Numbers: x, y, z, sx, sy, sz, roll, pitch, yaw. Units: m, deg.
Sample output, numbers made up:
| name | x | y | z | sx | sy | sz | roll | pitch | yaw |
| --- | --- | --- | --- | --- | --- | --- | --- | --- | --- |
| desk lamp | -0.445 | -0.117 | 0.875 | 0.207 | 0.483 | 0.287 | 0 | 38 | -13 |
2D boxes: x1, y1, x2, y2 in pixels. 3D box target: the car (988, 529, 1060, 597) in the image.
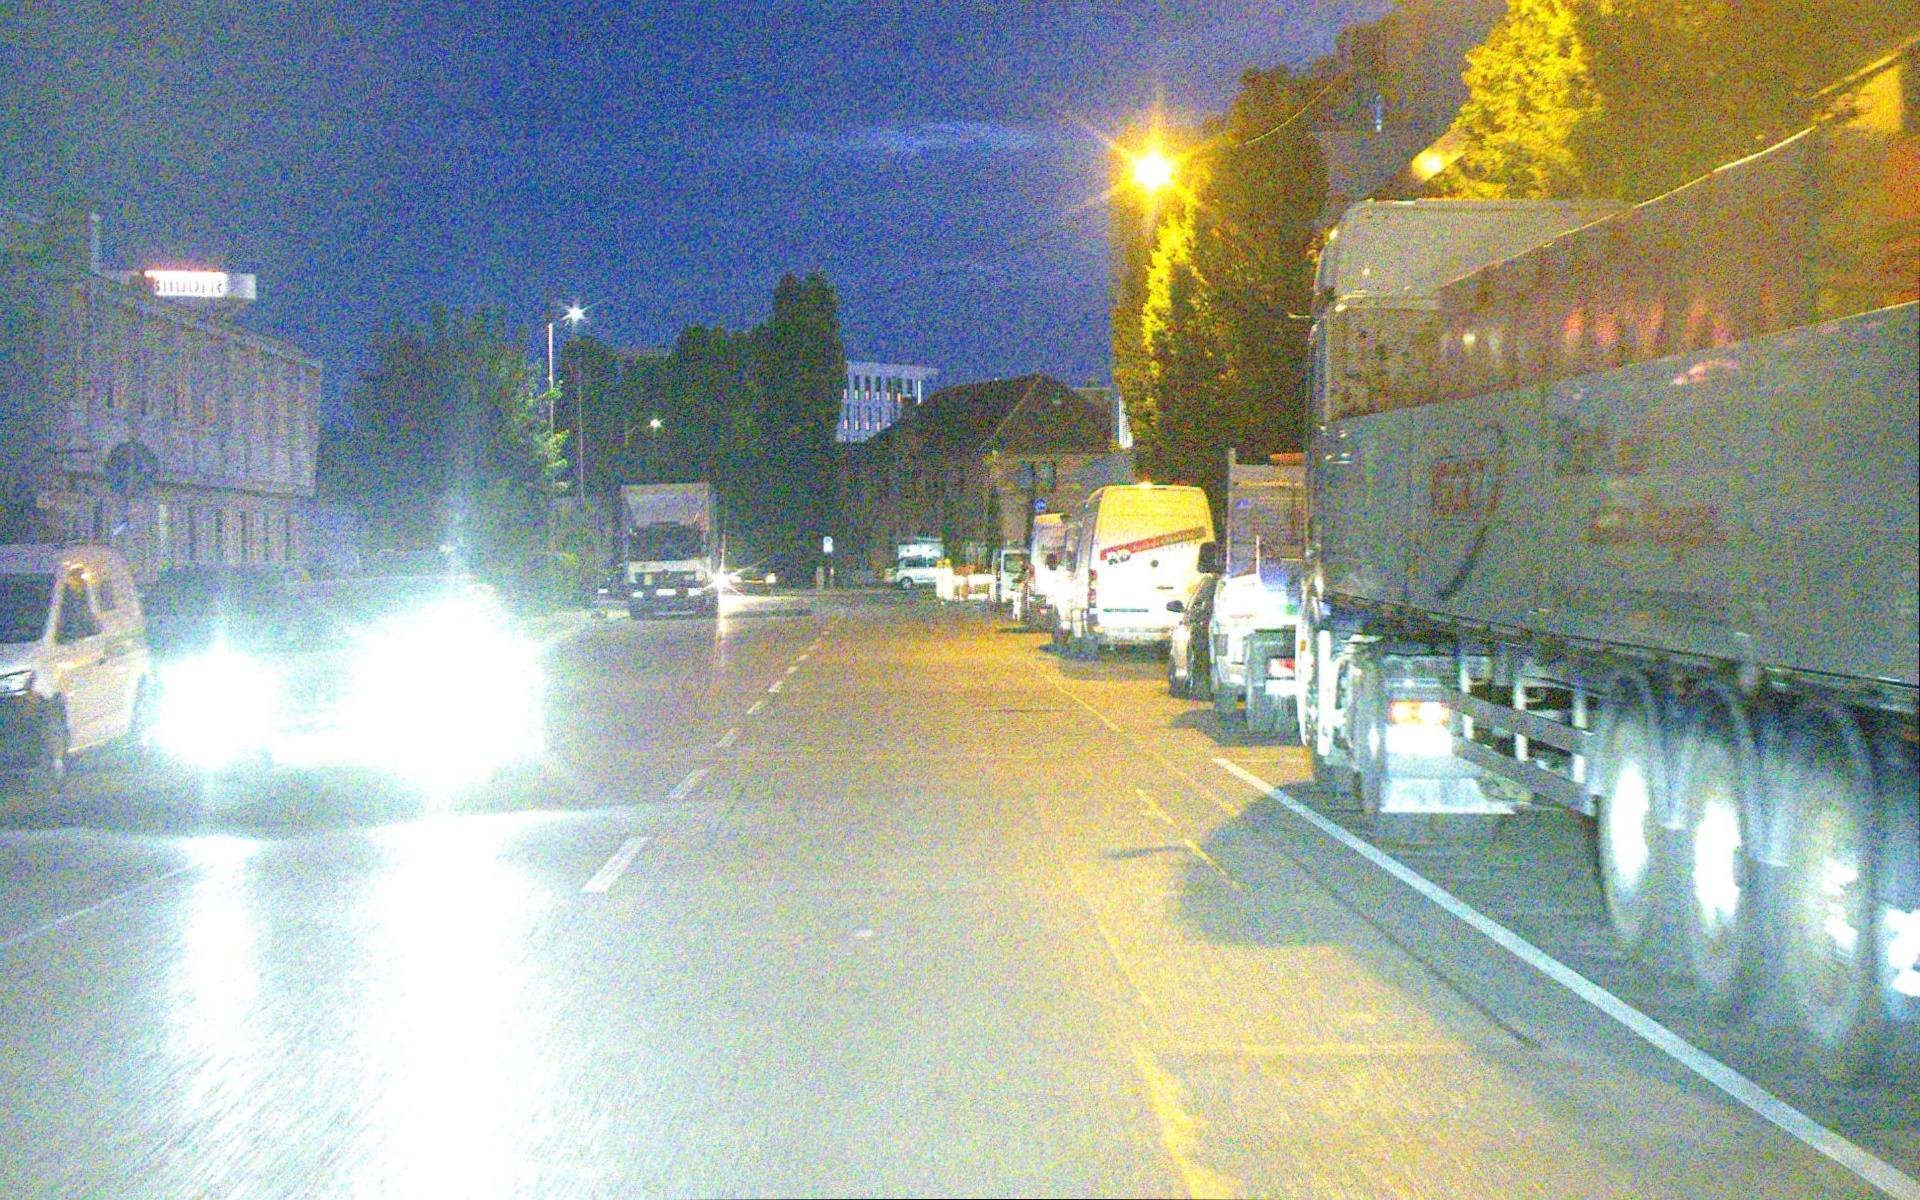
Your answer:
| name | x | y | z | sx | sy | sz | roll | pitch | yaw |
| --- | --- | --- | --- | --- | --- | --- | --- | --- | --- |
| car | 1.940 | -1.163 | 105.843 | 1.993 | 2.007 | 4.912 | -1 | 1 | -1 |

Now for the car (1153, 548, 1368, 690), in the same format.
| name | x | y | z | sx | sy | sz | roll | pitch | yaw |
| --- | --- | --- | --- | --- | --- | --- | --- | --- | --- |
| car | 3.295 | 0.159 | 38.531 | 1.829 | 1.403 | 4.909 | 2 | 1 | -1 |

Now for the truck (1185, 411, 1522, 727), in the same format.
| name | x | y | z | sx | sy | sz | roll | pitch | yaw |
| --- | --- | --- | --- | --- | --- | --- | --- | --- | --- |
| truck | 3.445 | -0.315 | 31.522 | 2.401 | 2.585 | 6.597 | 0 | 1 | 1 |

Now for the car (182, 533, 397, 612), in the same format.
| name | x | y | z | sx | sy | sz | roll | pitch | yaw |
| --- | --- | --- | --- | --- | --- | --- | --- | --- | --- |
| car | -14.586 | -0.605 | 74.842 | 4.132 | 1.427 | 1.895 | 4 | 2 | 17 |

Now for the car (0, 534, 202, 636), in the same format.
| name | x | y | z | sx | sy | sz | roll | pitch | yaw |
| --- | --- | --- | --- | --- | --- | --- | --- | --- | --- |
| car | -13.469 | -0.215 | 50.088 | 4.400 | 1.435 | 1.794 | -1 | 1 | -30 |

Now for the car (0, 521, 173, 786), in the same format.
| name | x | y | z | sx | sy | sz | roll | pitch | yaw |
| --- | --- | --- | --- | --- | --- | --- | --- | --- | --- |
| car | -7.338 | 0.326 | 25.744 | 1.804 | 1.792 | 4.878 | -1 | 1 | -1 |

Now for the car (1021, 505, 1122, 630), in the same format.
| name | x | y | z | sx | sy | sz | roll | pitch | yaw |
| --- | --- | --- | --- | --- | --- | --- | --- | --- | --- |
| car | 2.371 | -0.722 | 73.898 | 1.993 | 2.517 | 5.909 | 2 | 1 | 1 |

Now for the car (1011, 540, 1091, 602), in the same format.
| name | x | y | z | sx | sy | sz | roll | pitch | yaw |
| --- | --- | --- | --- | --- | --- | --- | --- | --- | --- |
| car | 2.296 | -0.759 | 86.808 | 1.946 | 1.484 | 5.010 | -1 | 1 | 1 |

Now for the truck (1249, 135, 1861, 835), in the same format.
| name | x | y | z | sx | sy | sz | roll | pitch | yaw |
| --- | --- | --- | --- | --- | --- | --- | --- | --- | --- |
| truck | 3.439 | -0.648 | 21.230 | 2.765 | 3.751 | 5.228 | 1 | 1 | -1 |

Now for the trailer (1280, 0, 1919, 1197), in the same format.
| name | x | y | z | sx | sy | sz | roll | pitch | yaw |
| --- | --- | --- | --- | --- | --- | --- | --- | --- | --- |
| trailer | 3.521 | -0.562 | 14.475 | 2.765 | 3.751 | 14.657 | 1 | 1 | -1 |

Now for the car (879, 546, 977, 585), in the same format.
| name | x | y | z | sx | sy | sz | roll | pitch | yaw |
| --- | --- | --- | --- | --- | --- | --- | --- | --- | --- |
| car | -1.555 | -1.690 | 168.595 | 4.325 | 1.640 | 1.893 | -4 | 2 | -23 |

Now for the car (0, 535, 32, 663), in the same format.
| name | x | y | z | sx | sy | sz | roll | pitch | yaw |
| --- | --- | --- | --- | --- | --- | --- | --- | --- | --- |
| car | -13.746 | 0.009 | 41.924 | 4.399 | 1.554 | 2.000 | -1 | 1 | -25 |

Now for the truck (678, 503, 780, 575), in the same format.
| name | x | y | z | sx | sy | sz | roll | pitch | yaw |
| --- | --- | --- | --- | --- | --- | --- | --- | --- | --- |
| truck | -12.515 | -3.257 | 185.479 | 2.754 | 3.770 | 9.139 | -1 | 1 | -22 |

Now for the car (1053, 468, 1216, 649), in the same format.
| name | x | y | z | sx | sy | sz | roll | pitch | yaw |
| --- | --- | --- | --- | --- | --- | --- | --- | --- | --- |
| car | 2.631 | -0.663 | 53.192 | 1.993 | 2.562 | 6.015 | 2 | 1 | -1 |

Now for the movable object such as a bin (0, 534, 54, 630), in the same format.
| name | x | y | z | sx | sy | sz | roll | pitch | yaw |
| --- | --- | --- | --- | --- | --- | --- | --- | --- | --- |
| movable object such as a bin | -15.455 | -0.286 | 54.353 | 1.857 | 1.495 | 1.609 | 0 | 1 | 0 |

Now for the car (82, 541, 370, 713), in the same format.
| name | x | y | z | sx | sy | sz | roll | pitch | yaw |
| --- | --- | --- | --- | --- | --- | --- | --- | --- | --- |
| car | -7.725 | 0.232 | 36.661 | 1.947 | 1.682 | 4.816 | -1 | 1 | 1 |

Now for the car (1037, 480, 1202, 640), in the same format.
| name | x | y | z | sx | sy | sz | roll | pitch | yaw |
| --- | --- | --- | --- | --- | --- | --- | --- | --- | --- |
| car | 2.703 | -0.716 | 59.802 | 2.128 | 2.562 | 5.910 | 2 | 1 | -4 |

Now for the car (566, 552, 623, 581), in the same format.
| name | x | y | z | sx | sy | sz | roll | pitch | yaw |
| --- | --- | --- | --- | --- | --- | --- | --- | --- | --- |
| car | -17.563 | -1.606 | 164.969 | 1.814 | 1.366 | 4.362 | -1 | 1 | -19 |

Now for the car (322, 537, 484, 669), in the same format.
| name | x | y | z | sx | sy | sz | roll | pitch | yaw |
| --- | --- | --- | --- | --- | --- | --- | --- | --- | --- |
| car | -8.183 | 0.017 | 50.848 | 1.813 | 1.843 | 4.415 | -1 | 1 | -2 |

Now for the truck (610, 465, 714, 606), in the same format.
| name | x | y | z | sx | sy | sz | roll | pitch | yaw |
| --- | --- | --- | --- | --- | --- | --- | --- | --- | --- |
| truck | -8.889 | -1.922 | 103.398 | 2.746 | 4.020 | 9.561 | 0 | 1 | -3 |

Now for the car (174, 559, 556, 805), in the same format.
| name | x | y | z | sx | sy | sz | roll | pitch | yaw |
| --- | --- | --- | --- | --- | --- | --- | --- | --- | --- |
| car | -3.848 | 0.468 | 22.957 | 1.820 | 1.432 | 4.398 | -1 | 1 | -1 |
